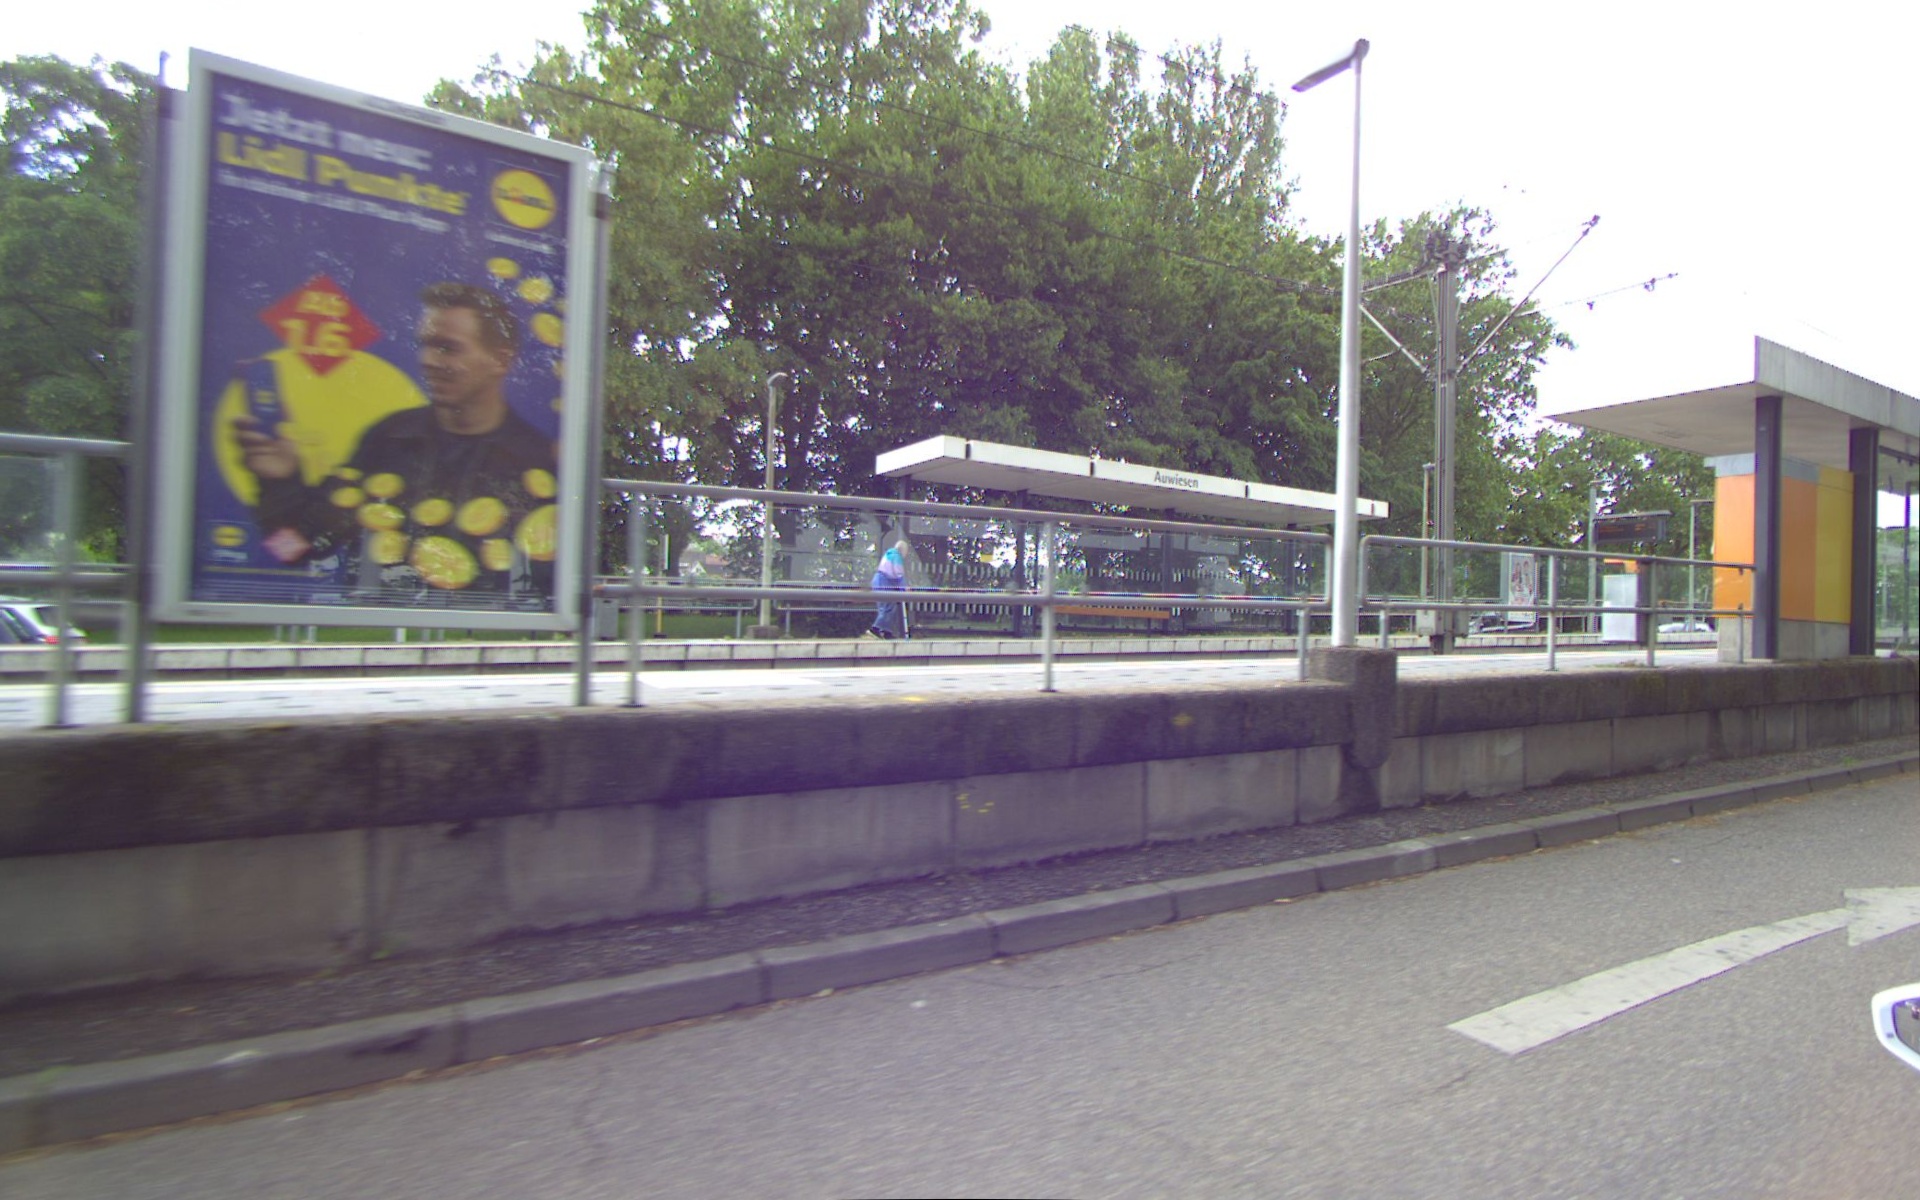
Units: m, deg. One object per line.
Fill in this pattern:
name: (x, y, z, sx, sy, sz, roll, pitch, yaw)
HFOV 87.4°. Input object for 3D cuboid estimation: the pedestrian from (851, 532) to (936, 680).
pedestrian: (-1.048, 0.104, 15.717, 0.964, 2.215, 0.965, 1, -1, -29)

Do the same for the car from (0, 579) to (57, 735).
car: (-13.780, 0.634, 12.128, 3.955, 1.885, 1.688, 2, 1, -32)

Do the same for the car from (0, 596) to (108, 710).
car: (-16.441, 0.806, 15.778, 4.350, 1.774, 1.702, 3, -3, -31)
